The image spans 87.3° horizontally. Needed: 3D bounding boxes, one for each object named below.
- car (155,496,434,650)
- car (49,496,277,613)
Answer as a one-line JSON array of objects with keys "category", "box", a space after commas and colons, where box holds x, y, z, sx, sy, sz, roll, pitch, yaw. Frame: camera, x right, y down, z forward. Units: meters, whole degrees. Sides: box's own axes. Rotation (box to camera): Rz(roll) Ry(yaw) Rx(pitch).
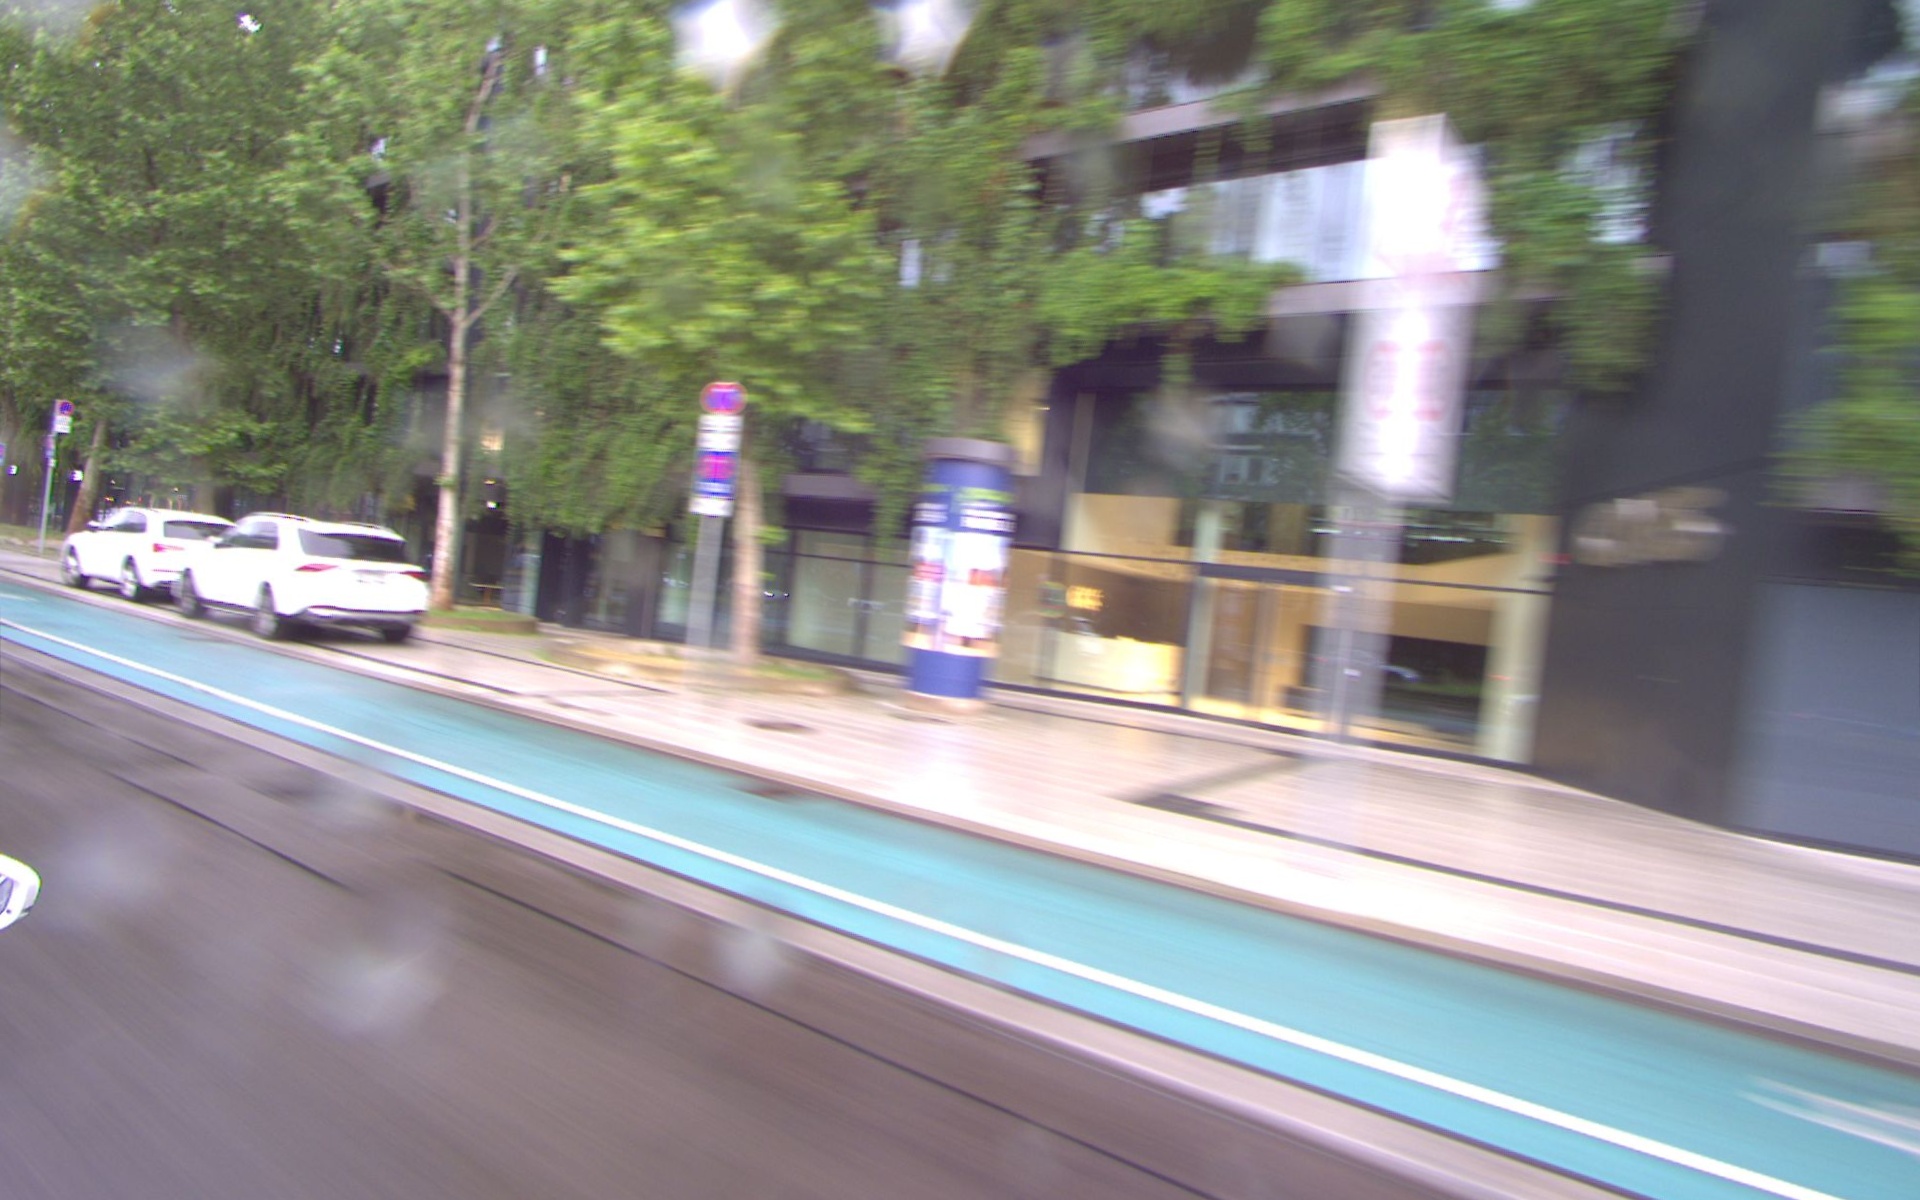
[{"category": "car", "box": [-10.579, -0.481, 15.843, 5.013, 1.861, 1.844, 7, 1, 35]}, {"category": "car", "box": [-15.151, -0.890, 19.050, 4.708, 1.652, 1.846, 7, -1, 33]}]
